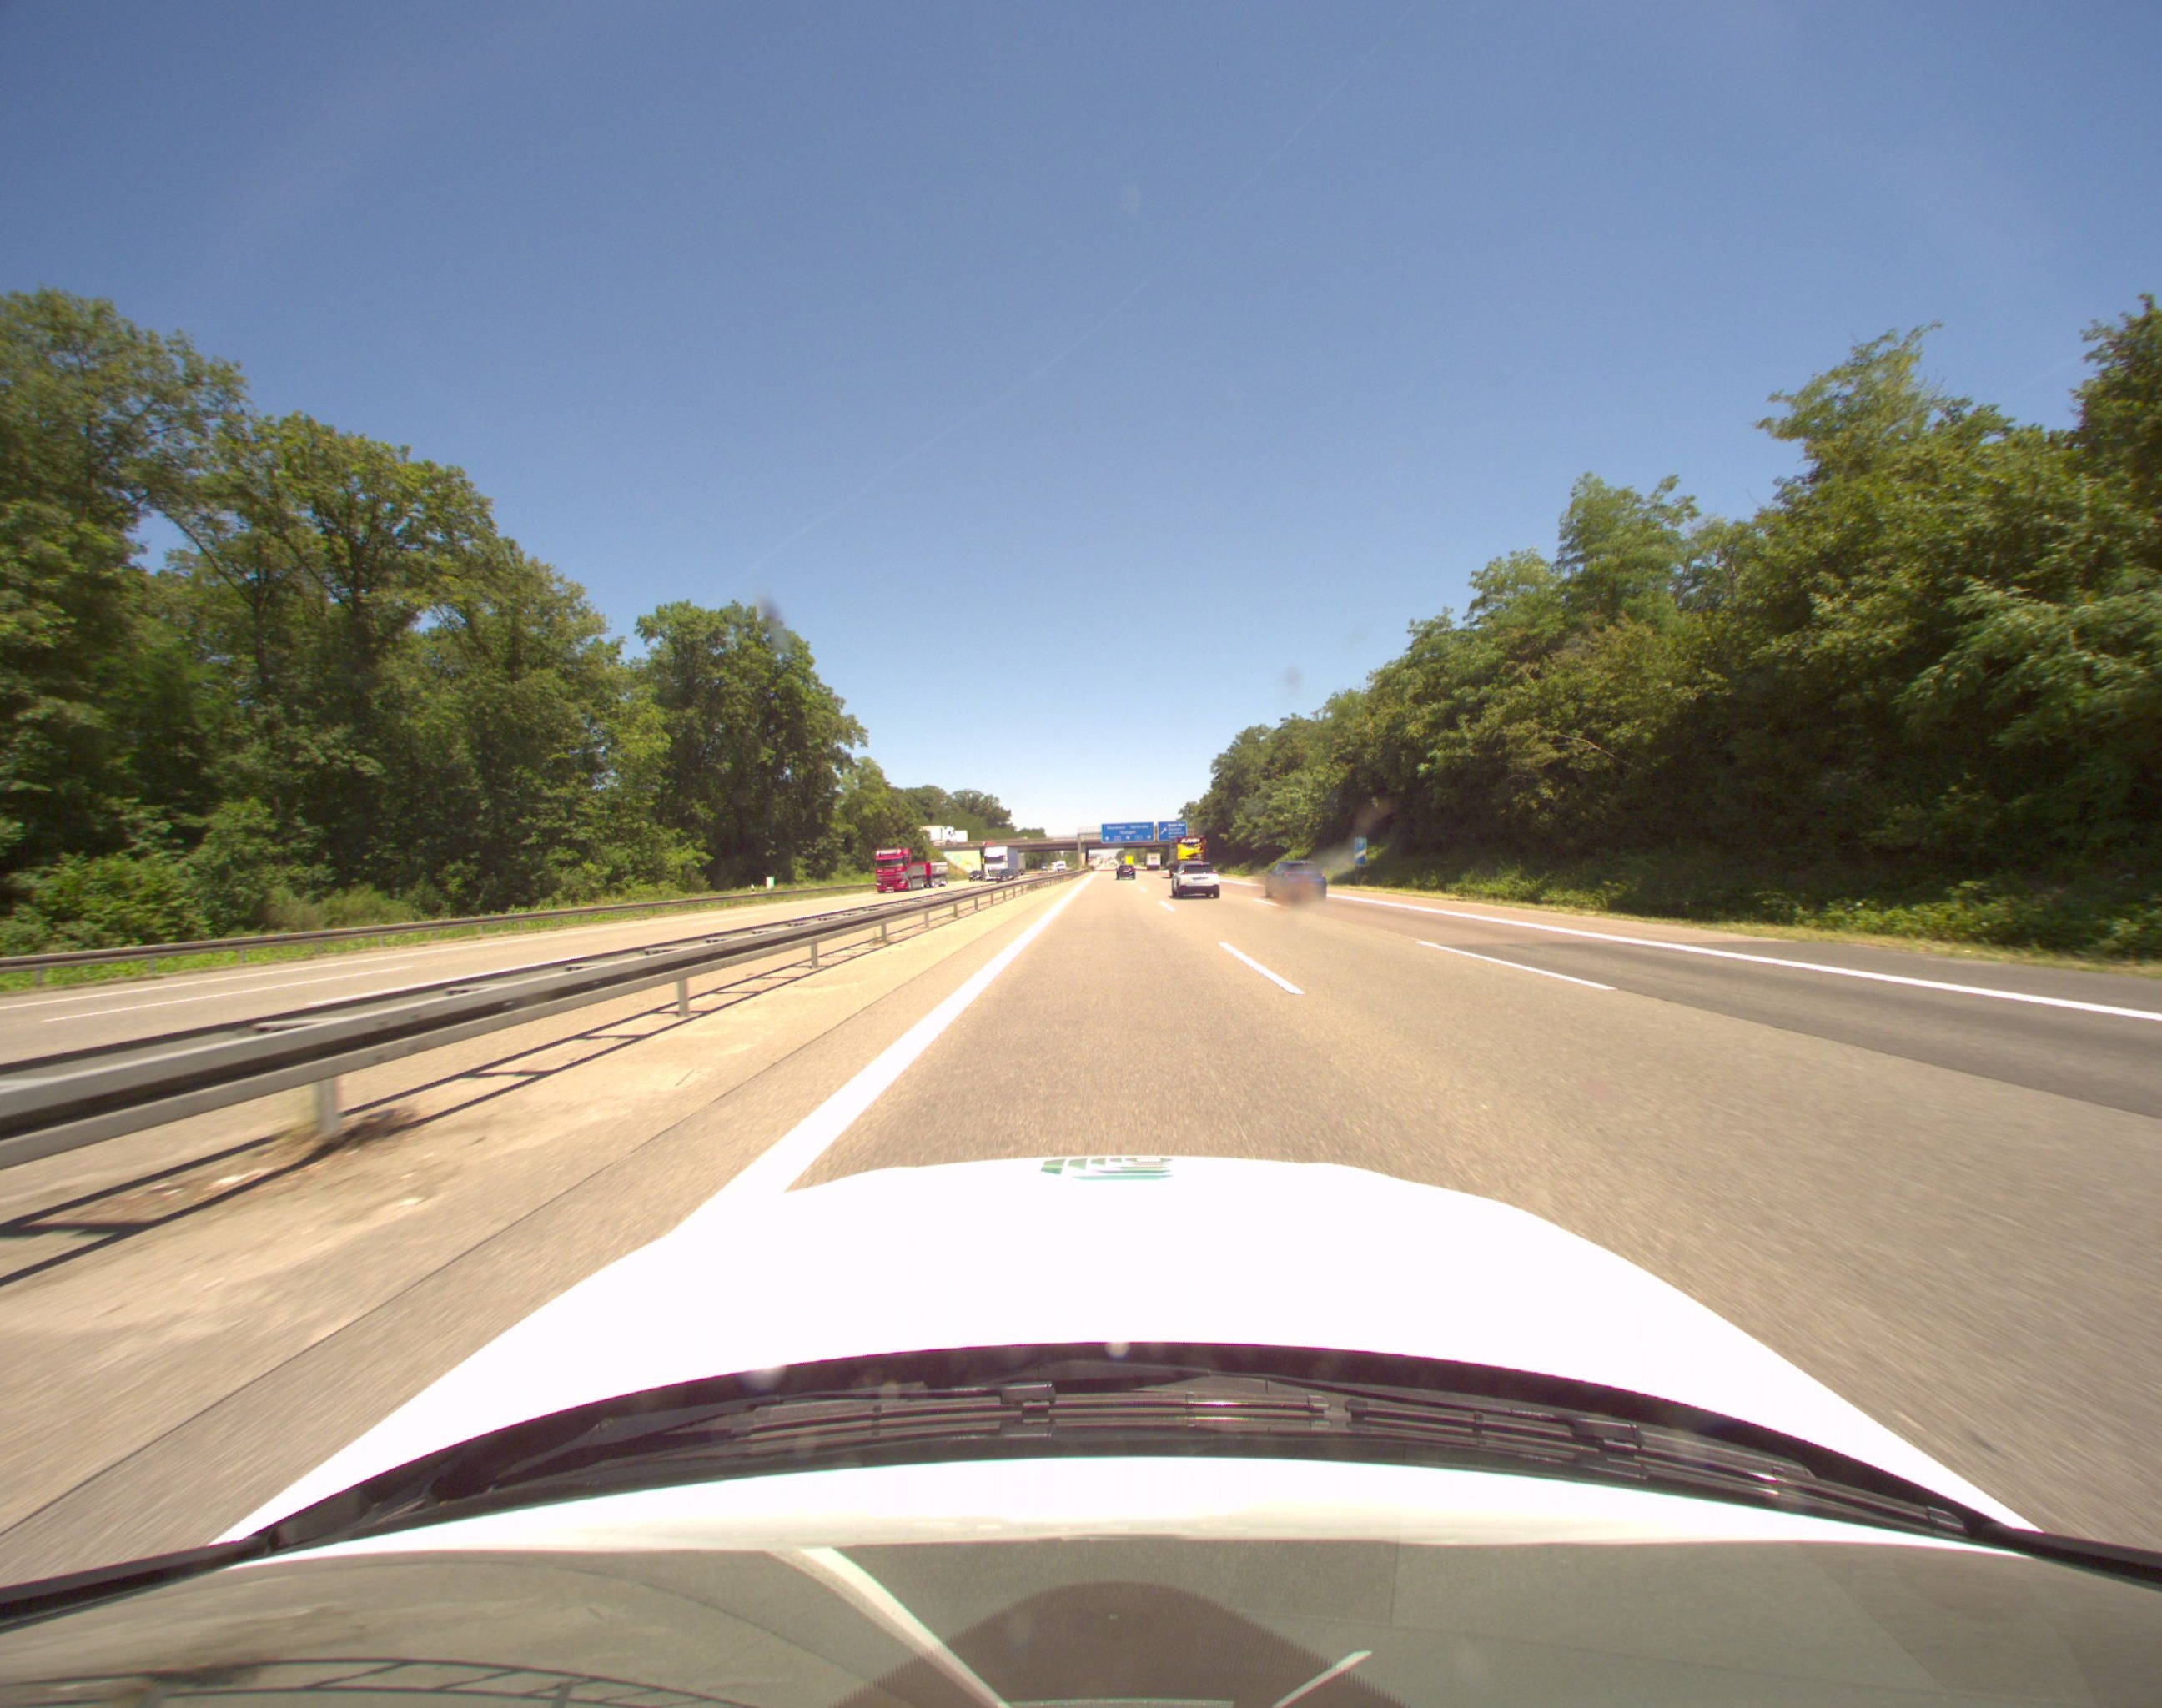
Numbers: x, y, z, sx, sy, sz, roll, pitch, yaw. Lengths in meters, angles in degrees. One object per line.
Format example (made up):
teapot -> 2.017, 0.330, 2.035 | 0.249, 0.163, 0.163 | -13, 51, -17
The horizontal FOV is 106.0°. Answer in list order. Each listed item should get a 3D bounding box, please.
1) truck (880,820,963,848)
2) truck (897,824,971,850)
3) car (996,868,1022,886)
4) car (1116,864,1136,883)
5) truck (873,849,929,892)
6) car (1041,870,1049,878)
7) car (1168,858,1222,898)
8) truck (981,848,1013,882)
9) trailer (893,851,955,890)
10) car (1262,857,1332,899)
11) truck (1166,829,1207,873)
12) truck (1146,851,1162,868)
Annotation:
truck -> -32.781, -4.107, 168.258 | 16.425, 5.566, 3.171 | 0, -1, -4
truck -> -33.263, -3.825, 184.926 | 16.438, 5.566, 3.168 | 0, -1, -6
car -> -6.779, 2.169, 77.027 | 1.800, 1.591, 4.671 | -1, -1, 2
car -> 4.254, 1.830, 77.145 | 1.820, 1.706, 4.001 | -1, -1, 1
truck -> -14.955, 1.360, 68.405 | 2.738, 3.394, 7.664 | -1, -1, 2
car -> -11.214, 6.196, 251.760 | 2.082, 2.399, 5.734 | 0, -1, 0
car -> 4.936, 1.014, 35.944 | 1.820, 1.608, 4.810 | -1, -1, 1
truck -> -10.302, 1.381, 100.259 | 2.975, 4.019, 6.044 | -1, -1, 2
trailer -> -14.610, 1.544, 77.081 | 2.768, 3.394, 13.295 | -1, -1, 2
car -> 8.686, 0.945, 33.127 | 1.863, 1.556, 4.203 | -1, -1, 2
truck -> 10.383, -0.212, 81.002 | 2.964, 4.037, 10.985 | 0, -1, 2
truck -> 14.831, 1.162, 164.522 | 3.013, 3.320, 10.788 | -1, -1, 6
